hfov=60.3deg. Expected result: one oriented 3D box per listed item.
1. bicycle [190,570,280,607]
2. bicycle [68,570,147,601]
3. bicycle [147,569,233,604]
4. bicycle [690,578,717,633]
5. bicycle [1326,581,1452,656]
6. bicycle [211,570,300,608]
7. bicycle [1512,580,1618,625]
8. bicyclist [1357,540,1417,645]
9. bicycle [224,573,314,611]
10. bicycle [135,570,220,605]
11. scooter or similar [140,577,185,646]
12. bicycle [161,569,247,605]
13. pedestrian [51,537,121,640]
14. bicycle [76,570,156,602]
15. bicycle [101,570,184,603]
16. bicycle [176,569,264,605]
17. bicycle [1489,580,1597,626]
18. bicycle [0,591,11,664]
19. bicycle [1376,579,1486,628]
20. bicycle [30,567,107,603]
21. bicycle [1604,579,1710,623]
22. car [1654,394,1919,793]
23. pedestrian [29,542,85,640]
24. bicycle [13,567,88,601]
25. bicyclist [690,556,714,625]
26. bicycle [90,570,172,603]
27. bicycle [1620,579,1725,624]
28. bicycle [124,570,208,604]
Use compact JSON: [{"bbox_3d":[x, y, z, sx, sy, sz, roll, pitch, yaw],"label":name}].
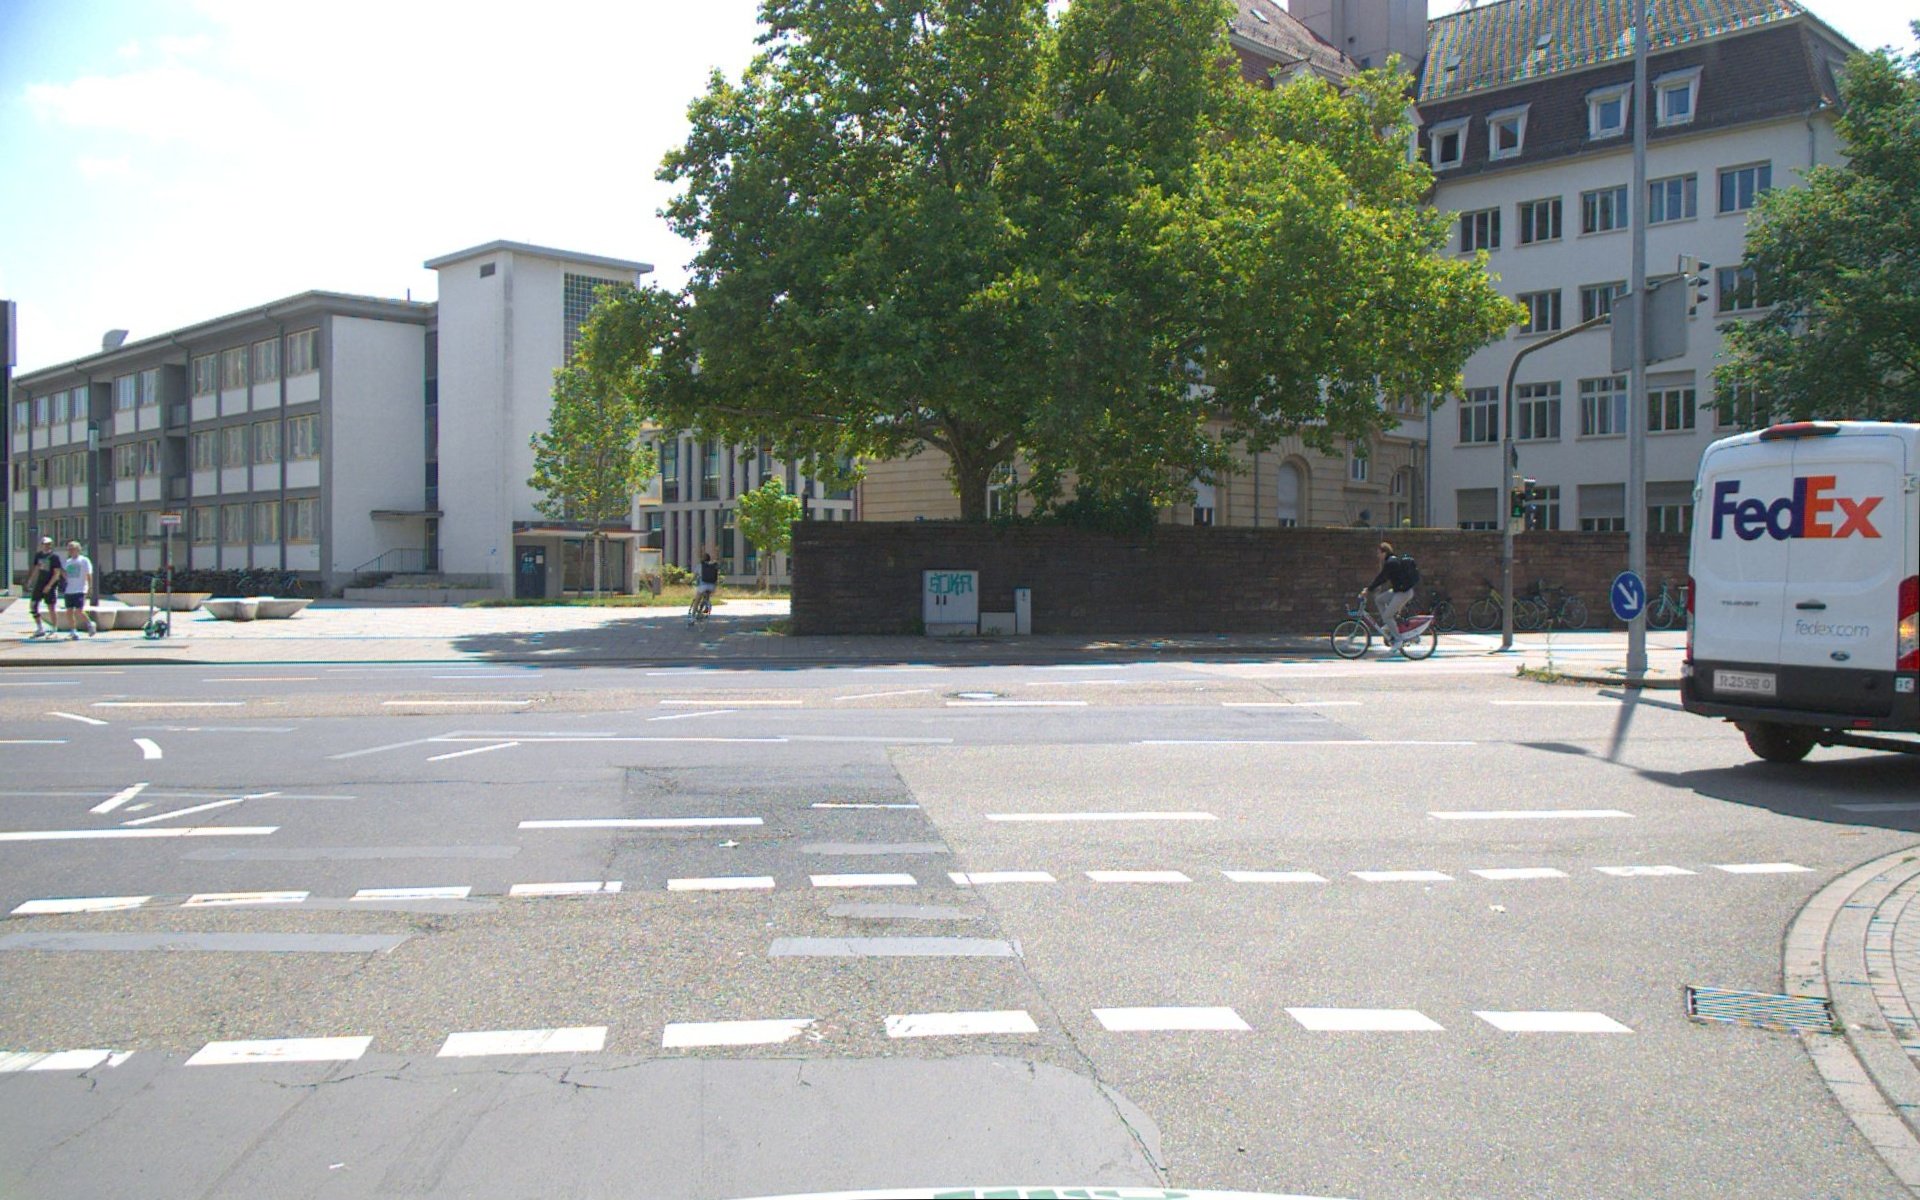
[{"bbox_3d":[-28.018,-0.442,63.920,1.253,1.387,2.948,1,0,41],"label":"bicycle"},{"bbox_3d":[-38.019,-0.642,73.834,1.097,1.387,2.948,1,0,41],"label":"bicycle"},{"bbox_3d":[-30.989,-0.530,66.616,1.097,1.387,2.948,1,0,41],"label":"bicycle"},{"bbox_3d":[-5.546,0.096,35.653,0.540,1.150,2.169,0,1,-10],"label":"bicycle"},{"bbox_3d":[7.033,0.295,27.189,1.939,1.205,0.682,0,1,7],"label":"bicycle"},{"bbox_3d":[-26.775,-0.421,62.884,1.097,1.387,2.948,1,0,41],"label":"bicycle"},{"bbox_3d":[13.989,0.046,38.253,2.341,1.011,0.694,-1,1,-15],"label":"bicycle"},{"bbox_3d":[7.007,-0.128,27.180,0.868,1.701,0.684,0,1,7],"label":"bicyclist"},{"bbox_3d":[-25.858,-0.296,61.949,1.097,1.387,2.948,1,0,41],"label":"bicycle"},{"bbox_3d":[-31.926,-0.518,67.500,1.097,1.387,2.948,1,0,41],"label":"bicycle"},{"bbox_3d":[-15.057,0.192,31.193,0.708,1.198,2.701,0,2,-27],"label":"scooter or similar"},{"bbox_3d":[-30.032,-0.516,65.733,1.097,1.387,2.948,1,0,41],"label":"bicycle"},{"bbox_3d":[-16.530,-0.220,31.286,0.894,1.922,0.865,0,1,35],"label":"pedestrian"},{"bbox_3d":[-37.124,-0.625,72.814,1.097,1.387,2.948,1,0,41],"label":"bicycle"},{"bbox_3d":[-34.547,-0.560,69.946,1.097,1.387,2.948,1,0,41],"label":"bicycle"},{"bbox_3d":[-28.952,-0.491,64.766,1.097,1.387,2.948,1,0,41],"label":"bicycle"},{"bbox_3d":[13.416,0.056,38.093,2.341,1.011,0.751,-1,1,-15],"label":"bicycle"},{"bbox_3d":[-15.972,0.458,25.879,0.829,1.165,1.997,0,1,12],"label":"bicycle"},{"bbox_3d":[10.639,0.063,37.368,2.341,1.077,0.751,-1,1,-15],"label":"bicycle"},{"bbox_3d":[-41.317,-0.686,76.696,1.097,1.602,2.948,1,0,41],"label":"bicycle"},{"bbox_3d":[16.427,0.017,38.965,2.341,1.011,0.751,-1,1,-15],"label":"bicycle"},{"bbox_3d":[8.242,-0.083,12.982,5.516,2.611,2.084,0,1,-27],"label":"car"},{"bbox_3d":[-17.307,-0.169,31.707,0.799,1.846,0.668,0,1,35],"label":"pedestrian"},{"bbox_3d":[-43.175,-0.757,78.557,1.097,1.602,2.948,1,0,41],"label":"bicycle"},{"bbox_3d":[-5.543,-0.205,35.576,0.505,1.477,0.785,0,1,-9],"label":"bicyclist"},{"bbox_3d":[-35.688,-0.582,71.227,1.097,1.387,2.948,1,0,41],"label":"bicycle"},{"bbox_3d":[16.848,0.028,39.100,2.341,1.011,0.722,-1,1,-15],"label":"bicycle"},{"bbox_3d":[-32.817,-0.529,68.363,1.097,1.387,2.948,1,0,41],"label":"bicycle"}]
